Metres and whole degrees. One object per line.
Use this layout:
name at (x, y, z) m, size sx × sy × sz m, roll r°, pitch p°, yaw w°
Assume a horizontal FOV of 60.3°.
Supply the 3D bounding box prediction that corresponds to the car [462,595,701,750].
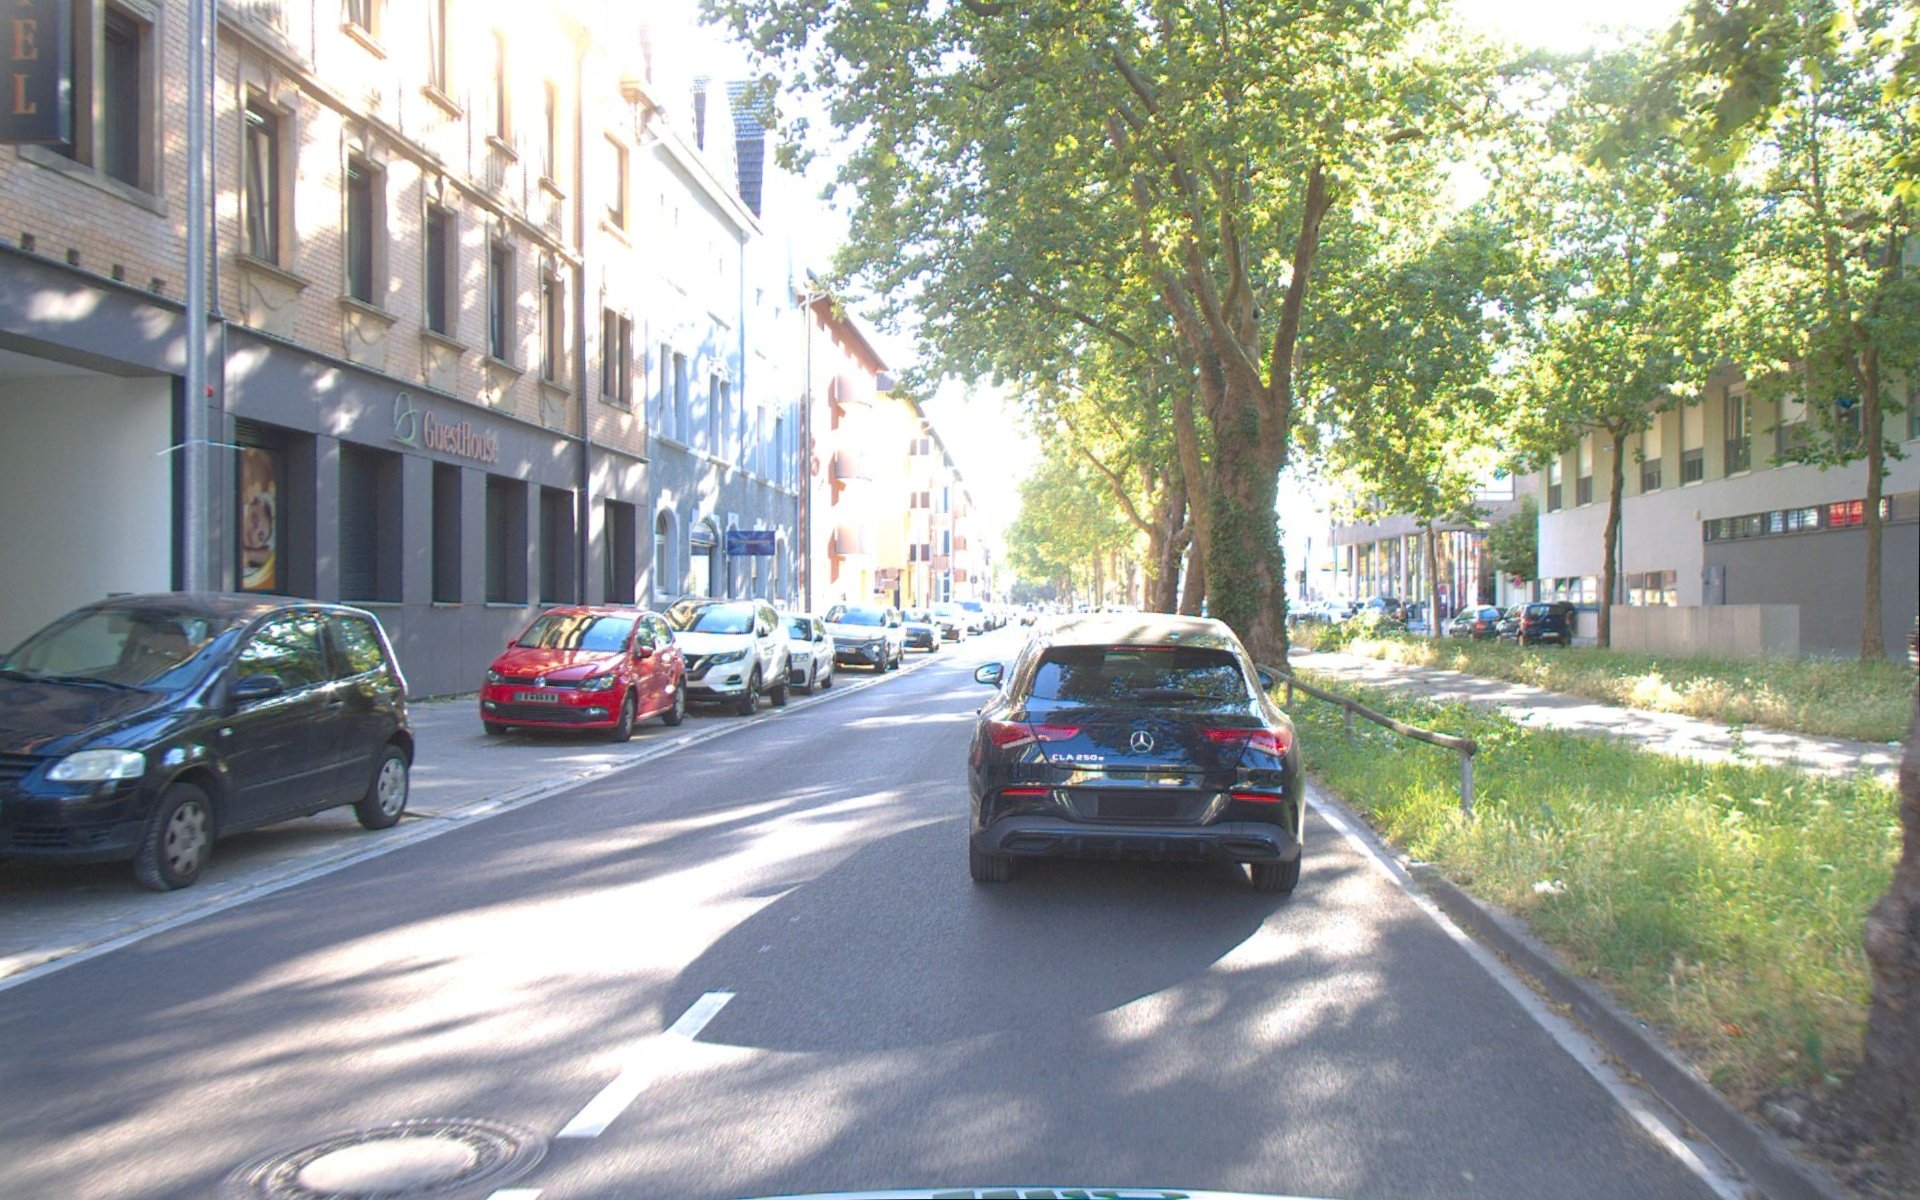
car at (-4.347, 0.772, 19.562) m, size 1.642 × 1.620 × 3.758 m, roll 1°, pitch 0°, yaw 5°

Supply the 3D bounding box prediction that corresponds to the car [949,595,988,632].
car at (0.481, 0.714, 90.531) m, size 1.697 × 1.940 × 5.212 m, roll 1°, pitch 0°, yaw 5°

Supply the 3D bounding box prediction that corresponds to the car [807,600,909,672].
car at (-2.479, 0.850, 41.303) m, size 1.868 × 1.670 × 4.580 m, roll 1°, pitch 0°, yaw 5°

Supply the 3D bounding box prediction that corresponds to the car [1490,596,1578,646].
car at (19.101, 0.675, 55.189) m, size 1.820 × 1.580 × 3.761 m, roll -1°, pitch 0°, yaw 4°

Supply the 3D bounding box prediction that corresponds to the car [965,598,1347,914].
car at (0.942, 0.740, 9.839) m, size 1.709 × 1.469 × 3.968 m, roll 1°, pitch 0°, yaw -1°

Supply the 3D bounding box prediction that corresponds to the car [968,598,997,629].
car at (1.415, 0.828, 103.492) m, size 1.709 × 1.819 × 4.550 m, roll 1°, pitch 0°, yaw 2°

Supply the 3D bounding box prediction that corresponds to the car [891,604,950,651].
car at (-1.342, 0.932, 57.183) m, size 1.642 × 1.512 × 3.603 m, roll 1°, pitch 0°, yaw 5°

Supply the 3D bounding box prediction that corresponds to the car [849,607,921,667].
car at (-2.220, 1.076, 49.809) m, size 1.642 × 1.670 × 3.987 m, roll 1°, pitch 0°, yaw 5°

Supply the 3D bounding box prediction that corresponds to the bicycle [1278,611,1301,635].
bicycle at (14.361, 0.992, 72.131) m, size 0.376 × 1.021 × 1.481 m, roll -1°, pitch 0°, yaw -13°

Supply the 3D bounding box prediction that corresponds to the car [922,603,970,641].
car at (-0.575, 0.912, 70.396) m, size 1.642 × 1.550 × 4.023 m, roll 1°, pitch 0°, yaw 5°

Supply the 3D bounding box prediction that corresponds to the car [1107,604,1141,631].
car at (9.325, 0.999, 94.144) m, size 1.601 × 1.493 × 4.022 m, roll -2°, pitch -1°, yaw 2°

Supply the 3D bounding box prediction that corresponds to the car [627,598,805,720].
car at (-3.504, 0.797, 24.494) m, size 1.642 × 1.612 × 4.202 m, roll 1°, pitch 0°, yaw 5°

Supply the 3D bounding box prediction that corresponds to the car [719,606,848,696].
car at (-3.227, 0.898, 30.906) m, size 1.642 × 1.522 × 3.874 m, roll 1°, pitch 0°, yaw 5°

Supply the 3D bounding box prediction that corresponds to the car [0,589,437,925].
car at (-4.797, 0.771, 10.086) m, size 1.642 × 1.633 × 3.708 m, roll 1°, pitch 0°, yaw 7°

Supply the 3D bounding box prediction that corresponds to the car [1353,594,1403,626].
car at (24.206, 0.559, 95.848) m, size 1.944 × 1.764 × 4.181 m, roll -1°, pitch 0°, yaw 2°

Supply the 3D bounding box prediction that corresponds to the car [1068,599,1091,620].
car at (12.042, 0.969, 166.967) m, size 1.953 × 2.049 × 3.999 m, roll 0°, pitch -2°, yaw 0°

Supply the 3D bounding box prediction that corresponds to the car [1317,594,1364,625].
car at (22.064, 0.538, 96.097) m, size 1.837 × 1.764 × 4.181 m, roll -1°, pitch 0°, yaw 1°

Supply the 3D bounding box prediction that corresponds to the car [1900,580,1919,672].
car at (17.328, 0.437, 26.933) m, size 1.820 × 1.570 × 4.322 m, roll -1°, pitch 0°, yaw 4°

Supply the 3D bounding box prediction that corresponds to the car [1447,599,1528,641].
car at (19.690, 0.725, 61.922) m, size 1.820 × 1.494 × 4.125 m, roll -1°, pitch 0°, yaw 2°

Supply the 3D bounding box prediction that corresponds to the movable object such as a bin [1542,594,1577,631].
movable object such as a bin at (24.352, 0.515, 67.211) m, size 1.168 × 1.488 × 1.408 m, roll -1°, pitch 0°, yaw 15°

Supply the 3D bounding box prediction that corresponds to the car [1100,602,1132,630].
car at (9.509, 0.992, 100.981) m, size 1.772 × 1.565 × 4.585 m, roll -3°, pitch -1°, yaw 4°
